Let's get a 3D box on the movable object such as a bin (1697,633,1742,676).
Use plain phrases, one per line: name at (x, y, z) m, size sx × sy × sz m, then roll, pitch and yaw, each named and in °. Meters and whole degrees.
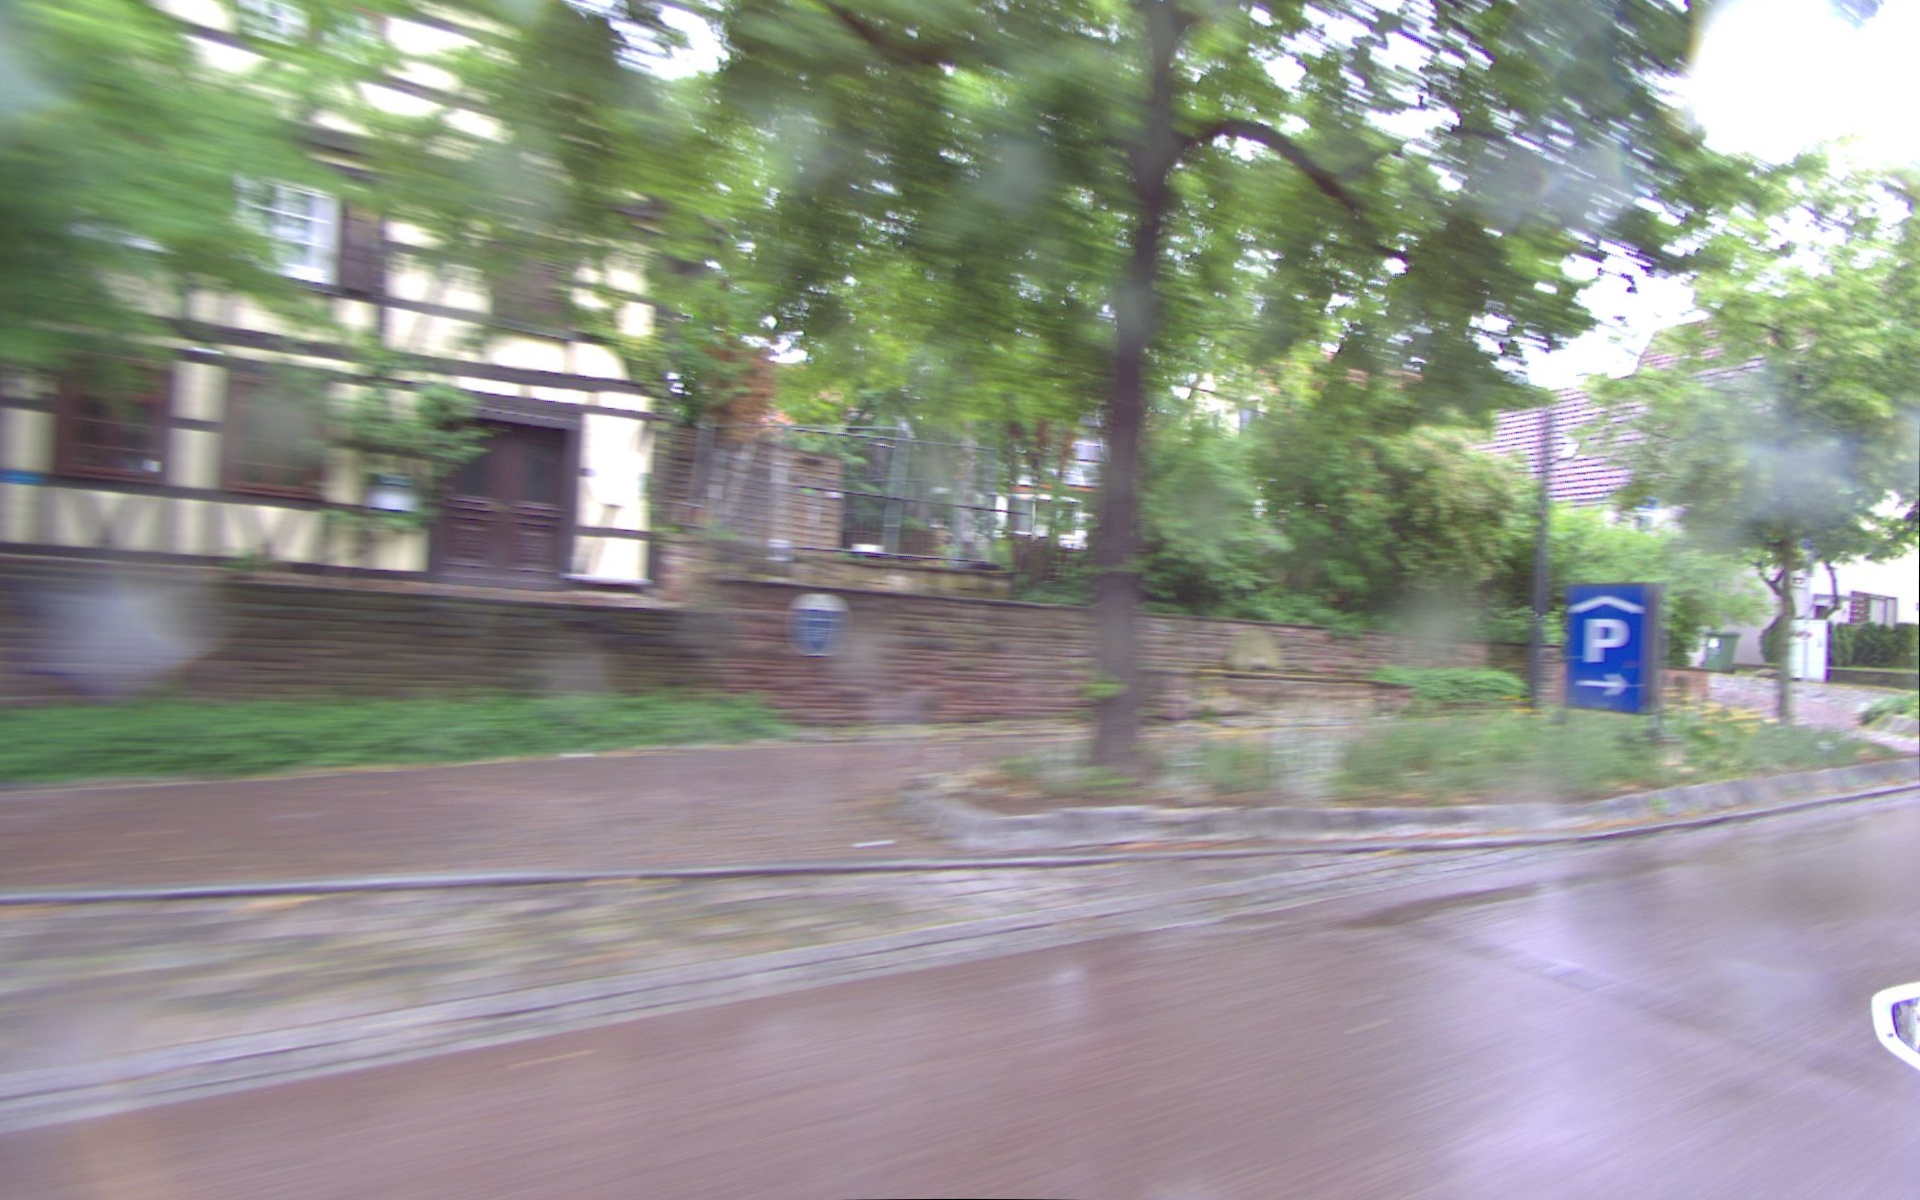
movable object such as a bin at (18.985, 1.354, 25.119) m, size 0.727 × 1.048 × 0.572 m, roll 2°, pitch -1°, yaw -17°
